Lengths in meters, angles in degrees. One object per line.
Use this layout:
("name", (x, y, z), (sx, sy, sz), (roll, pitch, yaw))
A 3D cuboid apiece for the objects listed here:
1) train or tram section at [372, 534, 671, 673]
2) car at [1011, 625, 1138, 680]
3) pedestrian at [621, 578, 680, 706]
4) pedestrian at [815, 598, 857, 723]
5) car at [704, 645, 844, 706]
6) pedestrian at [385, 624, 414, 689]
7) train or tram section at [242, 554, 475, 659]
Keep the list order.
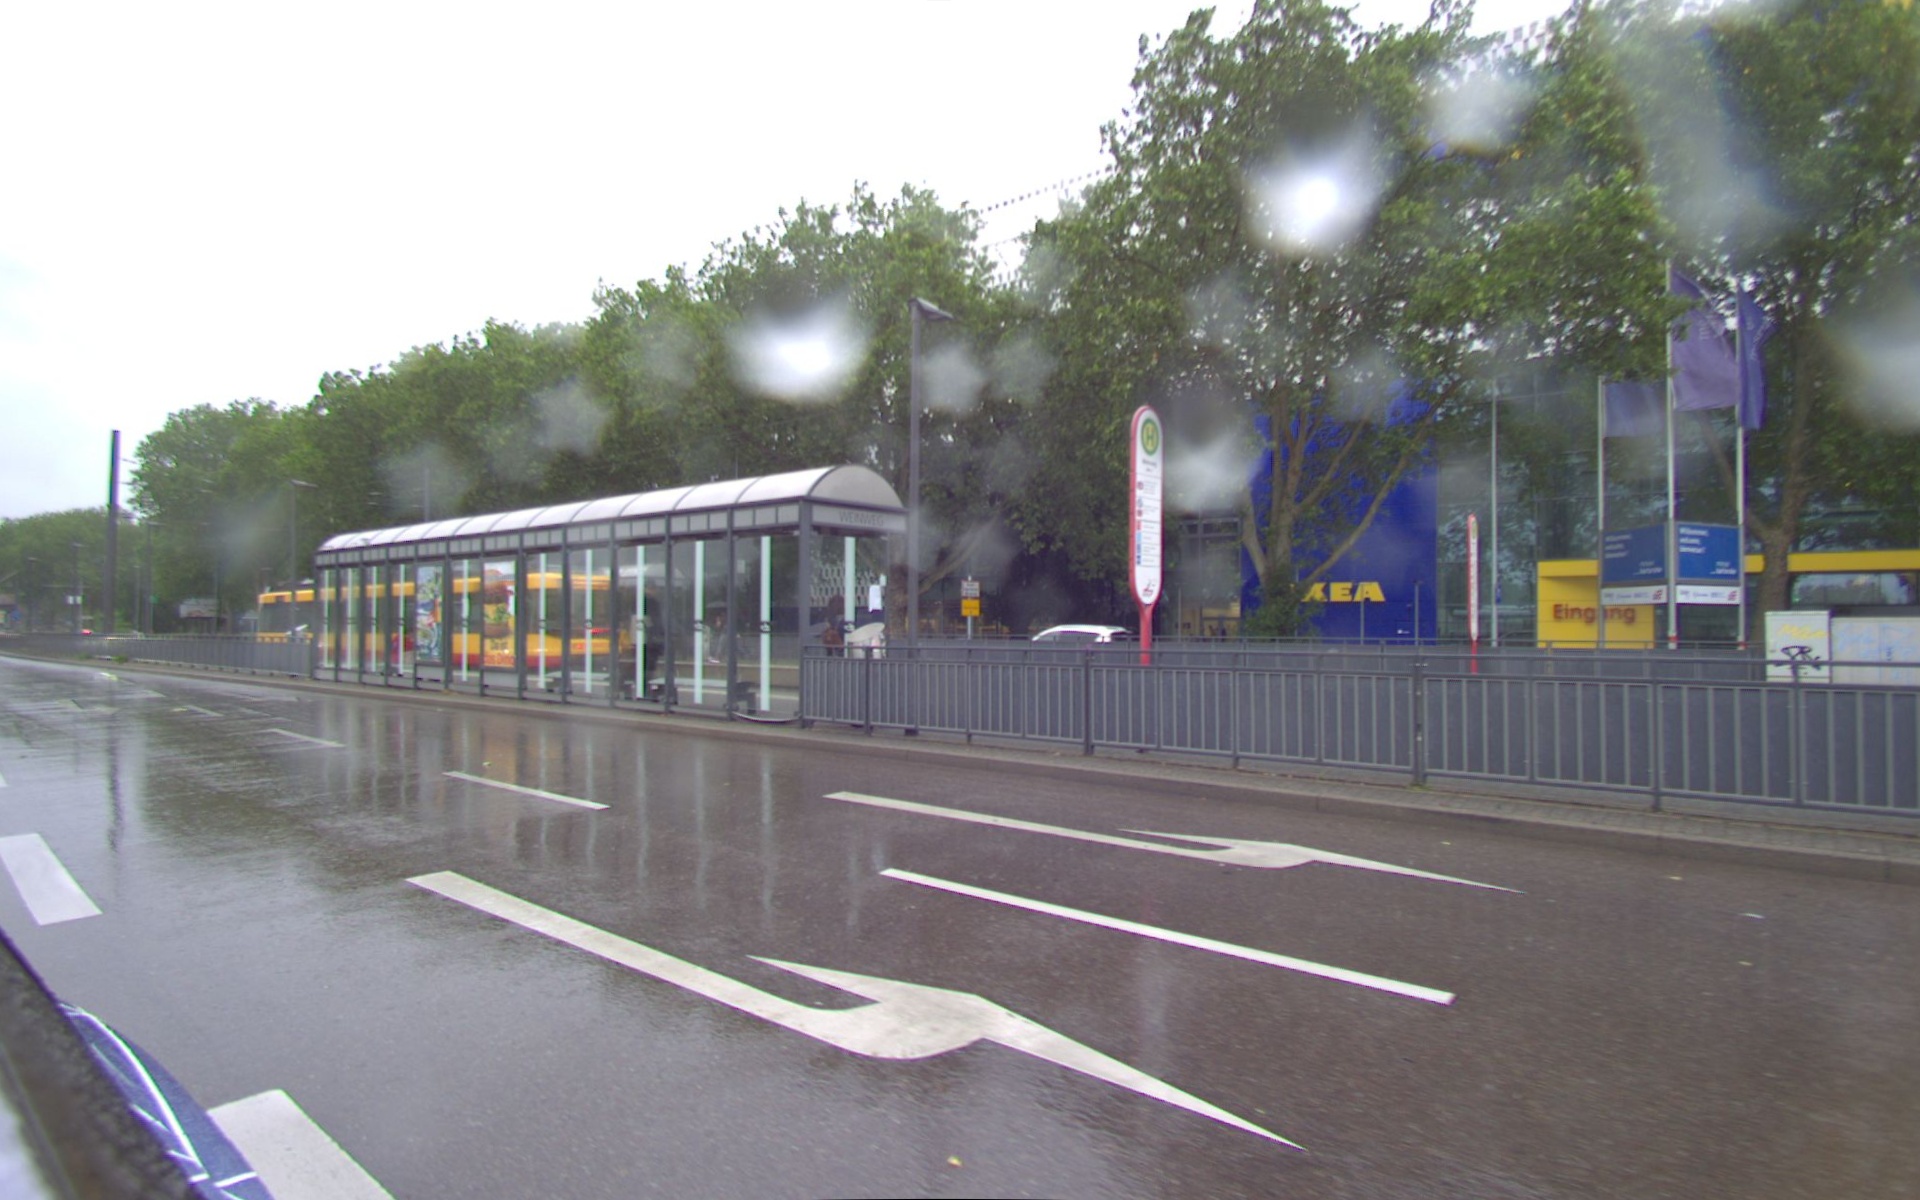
("train or tram section", (-15.079, 0.137, 33.800), (13.246, 3.868, 3.703), (-1, 0, 40))
("car", (3.395, 1.511, 30.083), (3.421, 1.475, 1.567), (-1, 0, 35))
("pedestrian", (-4.708, 0.620, 15.371), (0.646, 1.885, 0.774), (-1, 0, -33))
("pedestrian", (-1.531, 0.733, 12.491), (0.317, 1.504, 0.416), (-2, 1, -44))
("car", (-4.583, 1.780, 24.656), (3.548, 1.329, 1.519), (-1, -2, 42))
("pedestrian", (-11.085, 1.106, 20.005), (0.451, 1.245, 0.468), (0, 0, -35))
("train or tram section", (-26.062, 0.290, 43.158), (15.561, 3.827, 3.703), (-1, 0, 40))
